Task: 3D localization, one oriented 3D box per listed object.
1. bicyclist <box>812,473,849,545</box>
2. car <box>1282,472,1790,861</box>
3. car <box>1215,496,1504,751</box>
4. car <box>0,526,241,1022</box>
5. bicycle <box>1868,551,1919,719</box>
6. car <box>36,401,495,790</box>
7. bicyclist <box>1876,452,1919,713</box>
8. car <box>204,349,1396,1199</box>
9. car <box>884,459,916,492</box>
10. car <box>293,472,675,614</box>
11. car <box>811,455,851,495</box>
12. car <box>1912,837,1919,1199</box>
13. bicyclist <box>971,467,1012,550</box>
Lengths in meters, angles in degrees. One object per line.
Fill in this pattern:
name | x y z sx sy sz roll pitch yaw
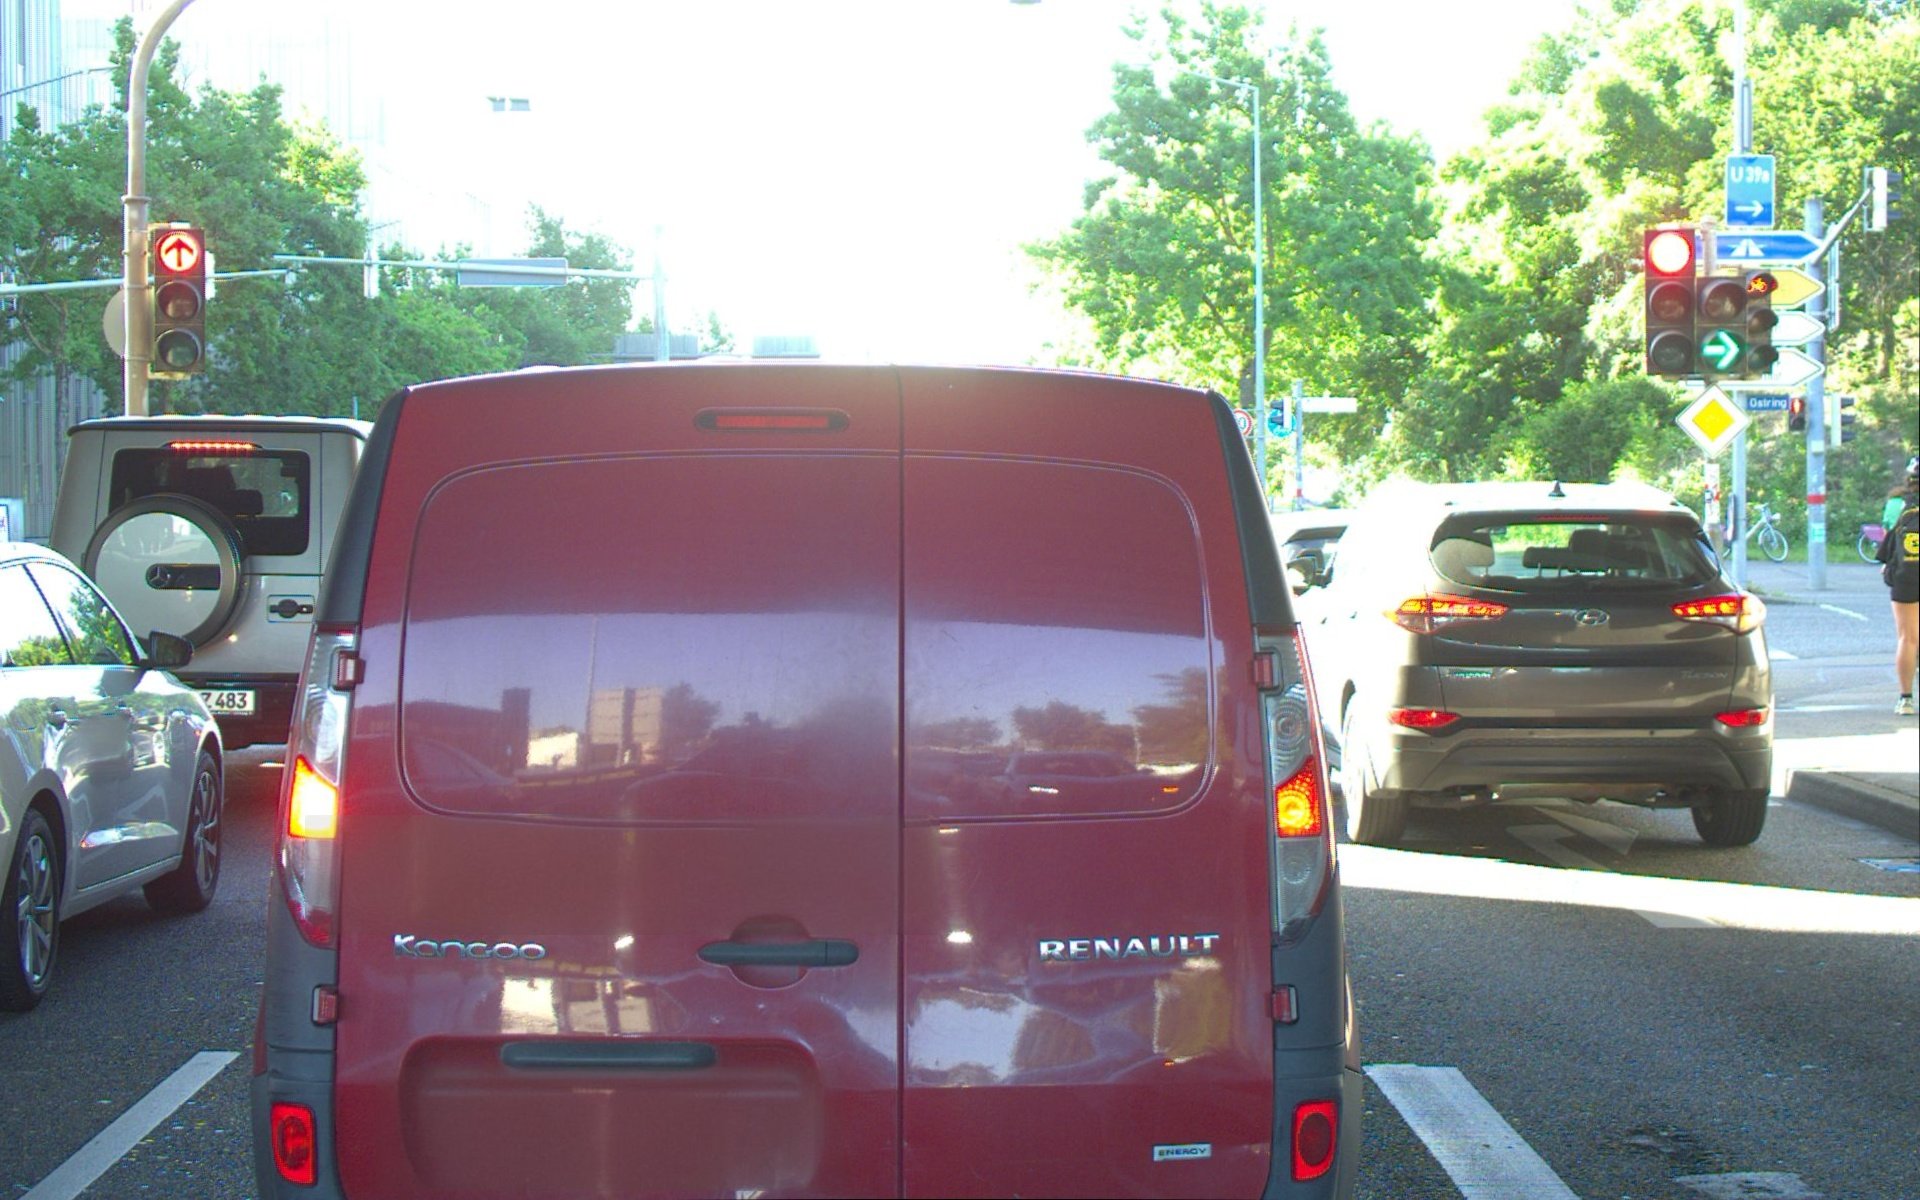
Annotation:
bicyclist | -2.434 -1.702 64.473 0.652 1.325 0.603 1 0 -4
car | 2.648 0.236 16.675 1.778 1.650 3.991 0 1 0
car | 2.641 0.089 23.444 1.652 1.546 3.864 1 2 2
car | -3.621 0.456 11.523 1.692 1.405 3.814 1 1 -1
bicycle | 6.147 0.212 21.659 0.677 1.020 1.528 1 1 10
car | -3.688 -0.060 18.886 1.813 1.897 3.814 1 1 -1
bicyclist | 6.160 -0.107 21.646 0.677 1.623 0.644 1 0 10
car | -0.259 0.485 7.005 1.719 1.758 4.000 1 1 -1
car | -3.861 -7.996 220.645 1.993 2.007 4.000 1 1 -1
car | -5.705 -0.684 41.614 4.346 1.602 2.000 1 1 -1
car | -6.938 -6.740 185.135 1.993 2.007 4.000 1 1 -1
car | 2.682 0.500 3.951 1.813 1.827 4.301 1 2 -2
bicyclist | 0.588 -1.701 63.855 0.755 1.537 0.697 0 1 0
